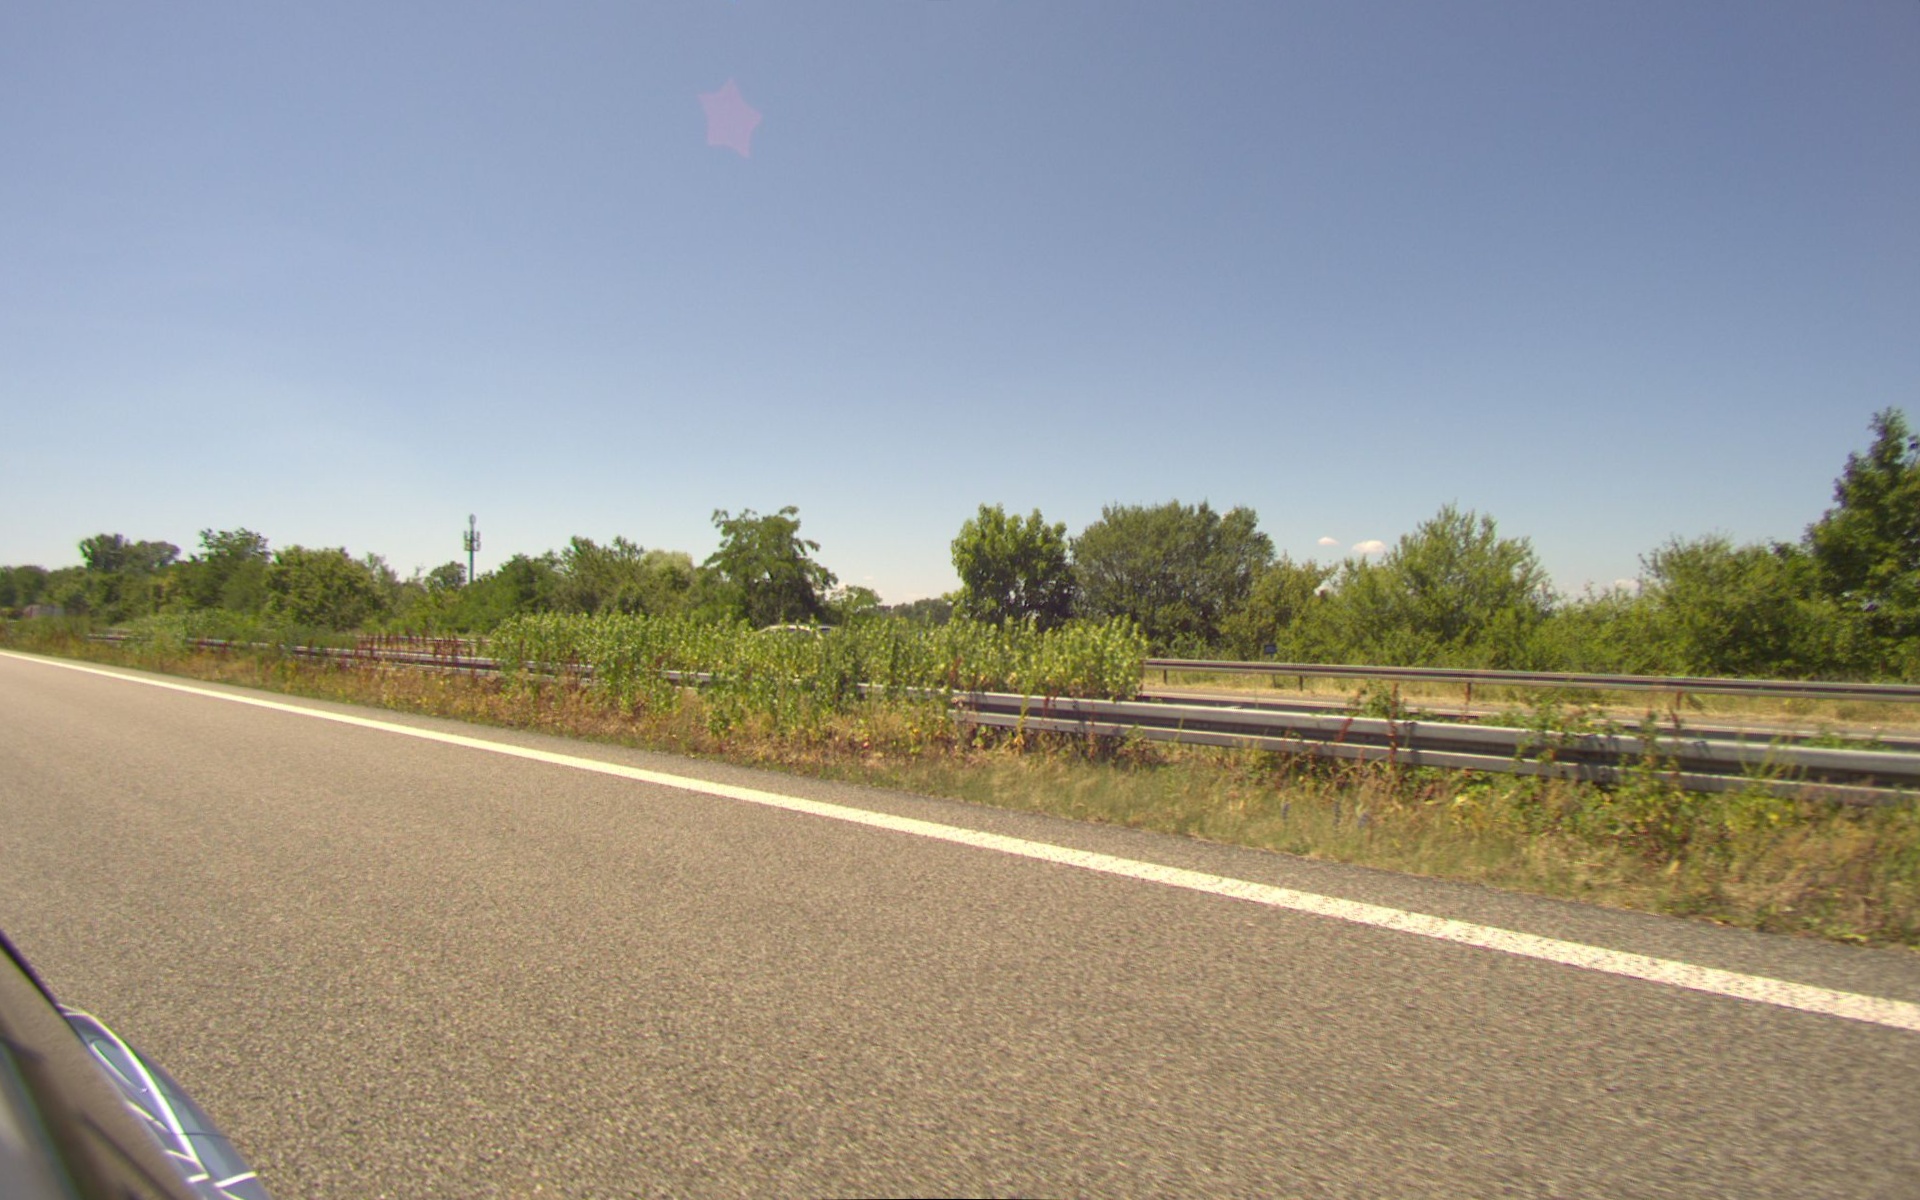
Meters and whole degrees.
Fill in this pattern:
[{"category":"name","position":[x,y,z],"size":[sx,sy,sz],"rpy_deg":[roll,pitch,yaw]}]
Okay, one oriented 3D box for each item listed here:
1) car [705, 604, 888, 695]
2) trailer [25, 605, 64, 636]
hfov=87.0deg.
[{"category":"car","position":[-4.113,1.144,25.066],"size":[4.645,2.029,1.946],"rpy_deg":[-1,0,41]},{"category":"trailer","position":[-126.226,2.839,139.470],"size":[10.625,4.005,2.900],"rpy_deg":[-1,0,42]}]
